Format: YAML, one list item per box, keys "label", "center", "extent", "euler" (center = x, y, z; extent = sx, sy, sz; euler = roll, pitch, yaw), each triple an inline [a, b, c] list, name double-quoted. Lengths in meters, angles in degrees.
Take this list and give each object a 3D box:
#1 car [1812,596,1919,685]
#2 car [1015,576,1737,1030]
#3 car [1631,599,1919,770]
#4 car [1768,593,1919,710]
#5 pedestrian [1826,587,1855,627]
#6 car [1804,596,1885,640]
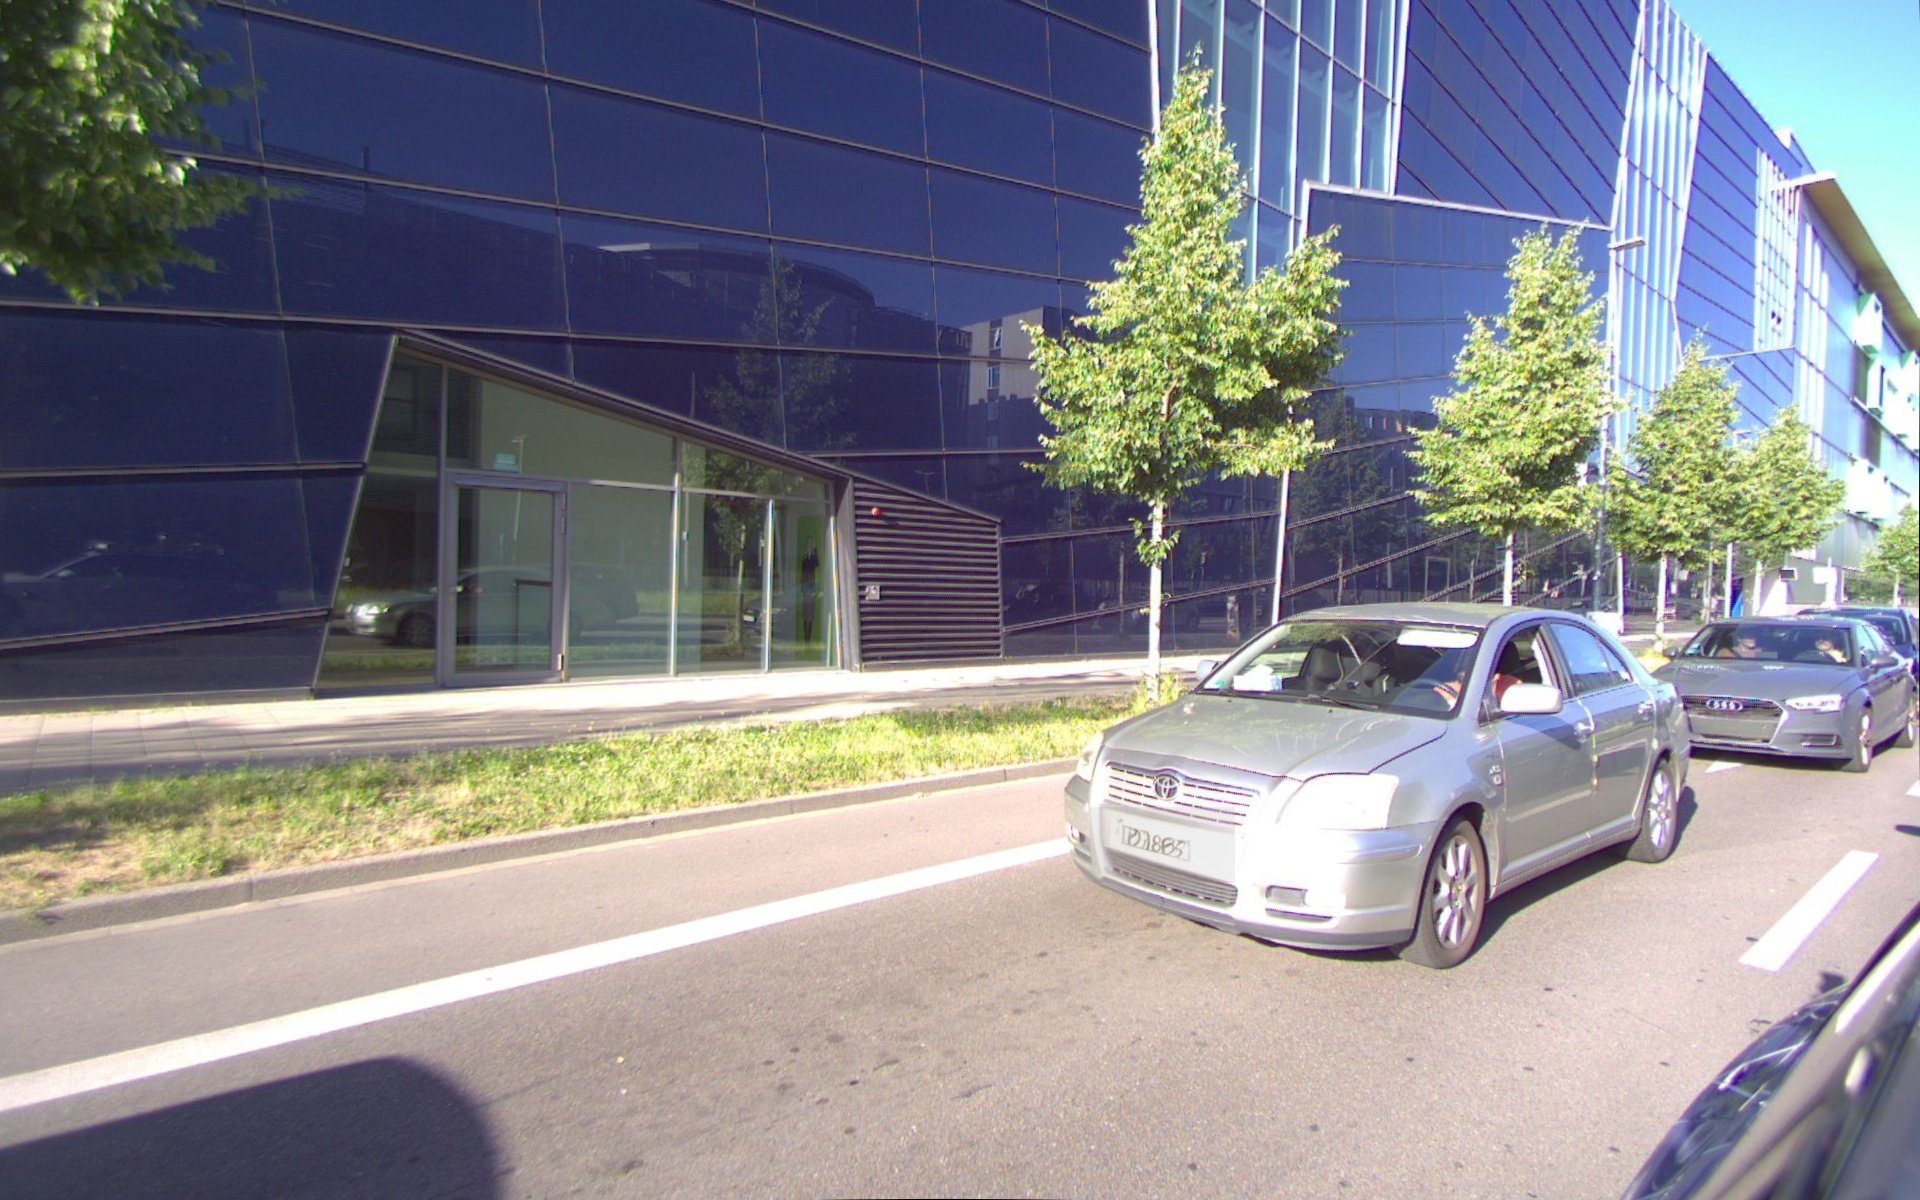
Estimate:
- label: "car"
  center: [17.229, 0.695, 18.734]
  extent: [3.358, 1.497, 1.752]
  euler: [0, 0, -41]
- label: "car"
  center: [2.557, 0.659, 5.535]
  extent: [4.546, 1.500, 1.749]
  euler: [0, 2, -40]
- label: "car"
  center: [8.733, 0.706, 10.535]
  extent: [4.187, 1.409, 1.750]
  euler: [0, 1, -39]
- label: "car"
  center: [13.498, 0.676, 14.987]
  extent: [3.902, 1.497, 1.752]
  euler: [0, 0, -41]
- label: "pedestrian"
  center: [42.514, 0.343, 48.862]
  extent: [0.889, 1.846, 0.828]
  euler: [1, 4, -41]
- label: "car"
  center: [34.932, 0.677, 39.924]
  extent: [4.633, 1.516, 1.739]
  euler: [0, 3, -41]
